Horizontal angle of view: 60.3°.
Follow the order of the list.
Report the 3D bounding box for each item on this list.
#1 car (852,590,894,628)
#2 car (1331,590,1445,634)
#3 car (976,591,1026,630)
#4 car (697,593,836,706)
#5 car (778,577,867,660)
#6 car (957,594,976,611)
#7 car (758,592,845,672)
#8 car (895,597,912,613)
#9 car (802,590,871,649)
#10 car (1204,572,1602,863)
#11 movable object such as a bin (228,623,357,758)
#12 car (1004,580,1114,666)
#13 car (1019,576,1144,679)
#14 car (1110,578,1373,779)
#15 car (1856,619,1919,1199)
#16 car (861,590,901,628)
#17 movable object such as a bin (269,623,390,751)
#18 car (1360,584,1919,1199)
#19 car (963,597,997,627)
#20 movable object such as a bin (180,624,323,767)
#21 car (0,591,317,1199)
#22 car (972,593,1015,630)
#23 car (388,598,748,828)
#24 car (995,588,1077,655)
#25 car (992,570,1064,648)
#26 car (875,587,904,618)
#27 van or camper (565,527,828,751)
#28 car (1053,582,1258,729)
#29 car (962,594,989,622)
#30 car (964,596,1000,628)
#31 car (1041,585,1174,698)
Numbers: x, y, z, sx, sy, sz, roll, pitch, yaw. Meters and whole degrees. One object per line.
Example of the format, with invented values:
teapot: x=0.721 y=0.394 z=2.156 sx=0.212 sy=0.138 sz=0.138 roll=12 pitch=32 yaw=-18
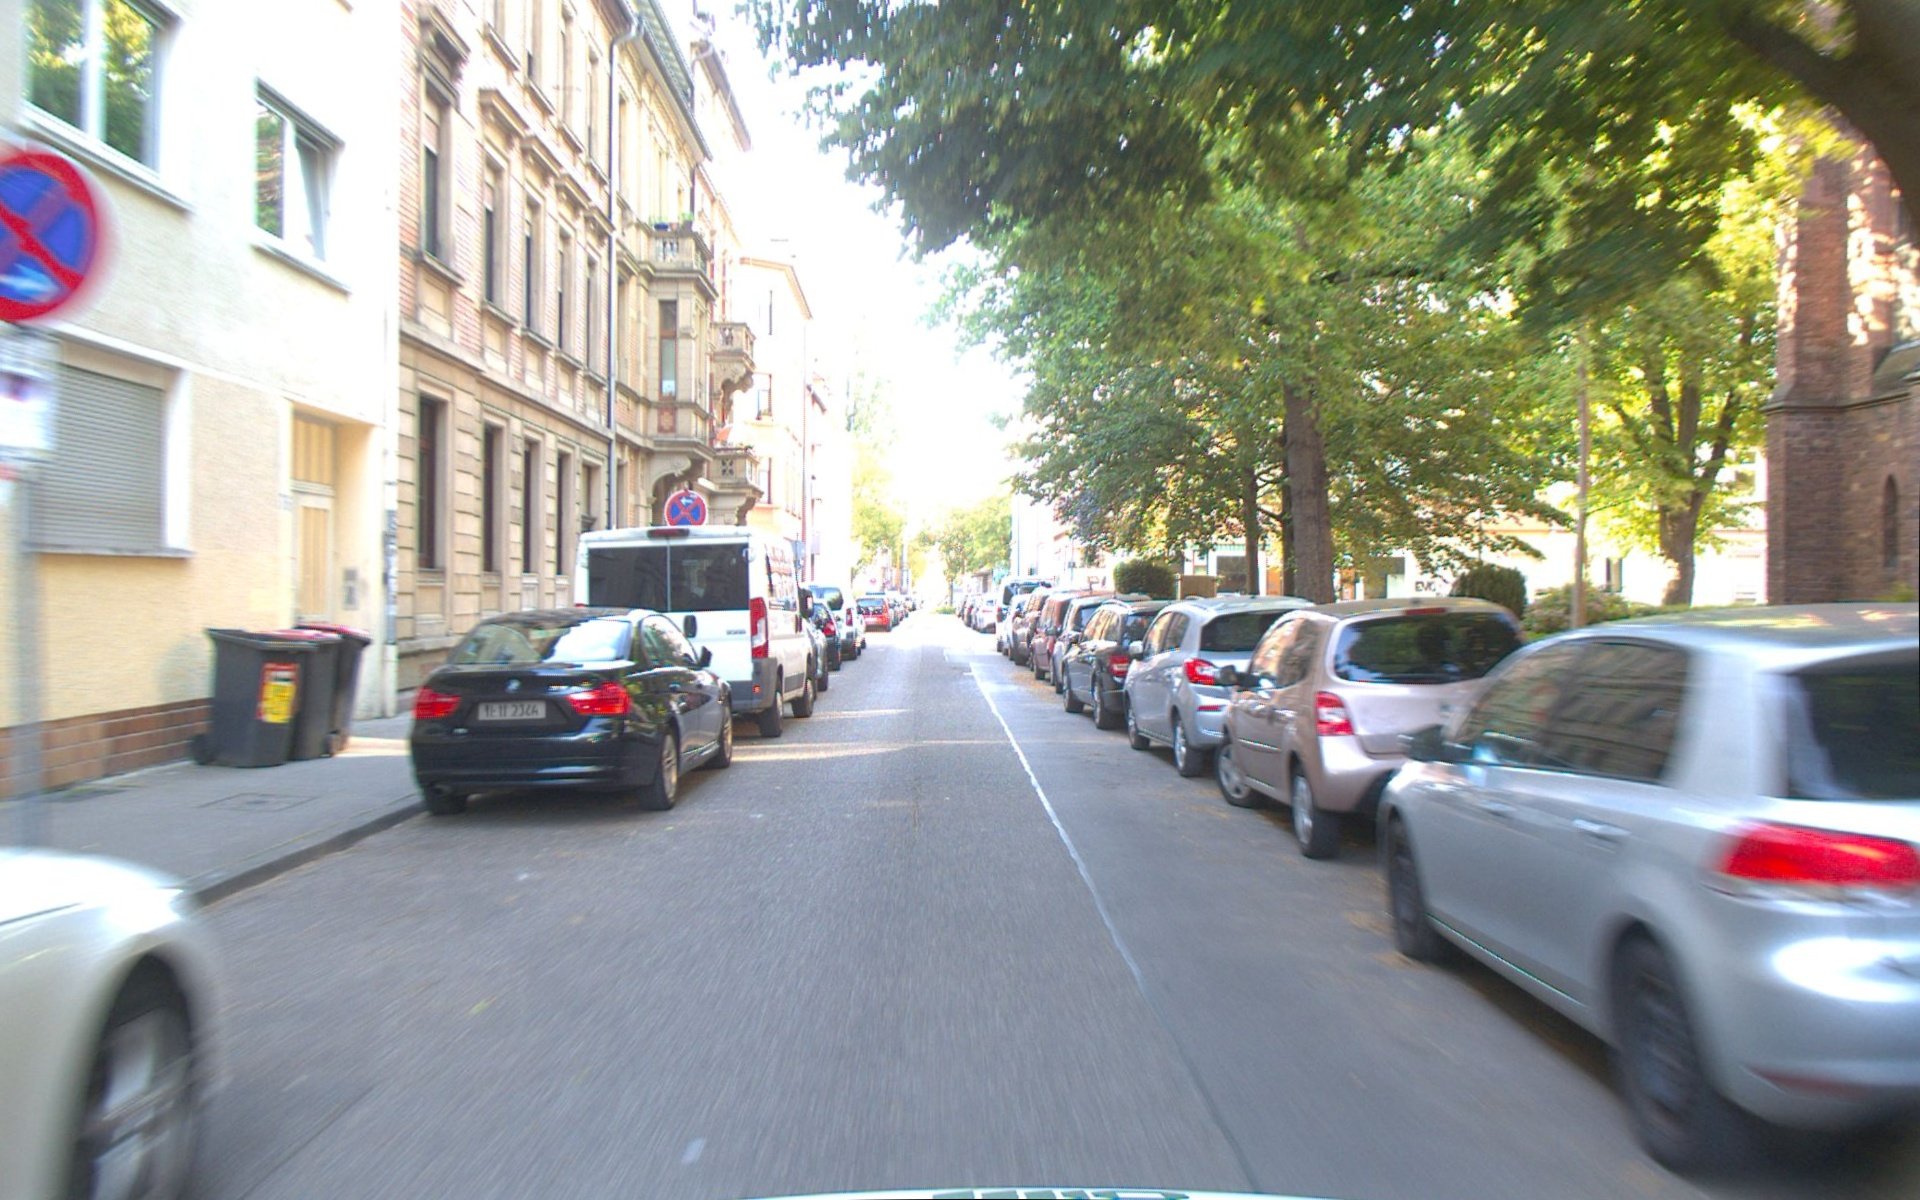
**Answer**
car: x=-3.623 y=0.365 z=69.295 sx=1.595 sy=1.507 sz=3.600 roll=-2 pitch=0 yaw=-2
car: x=15.482 y=0.435 z=59.948 sx=3.773 sy=1.499 sz=1.634 roll=1 pitch=-2 yaw=6
car: x=1.673 y=0.420 z=68.968 sx=1.709 sy=1.533 sz=4.354 roll=-2 pitch=0 yaw=-4
car: x=-2.896 y=0.693 z=25.523 sx=1.731 sy=1.540 sz=4.192 roll=-2 pitch=0 yaw=-2
car: x=-3.273 y=0.420 z=40.116 sx=1.794 sy=1.843 sz=4.571 roll=-2 pitch=0 yaw=-1
car: x=0.619 y=0.239 z=159.488 sx=1.642 sy=1.513 sz=3.637 roll=-2 pitch=0 yaw=-2
car: x=-3.315 y=0.637 z=35.177 sx=1.659 sy=1.540 sz=3.970 roll=-2 pitch=0 yaw=-4
car: x=-5.373 y=0.458 z=157.609 sx=1.642 sy=1.513 sz=4.093 roll=-2 pitch=0 yaw=-2
car: x=-3.369 y=0.494 z=45.516 sx=1.658 sy=1.507 sz=3.972 roll=-2 pitch=0 yaw=-2
car: x=2.730 y=0.665 z=10.996 sx=1.567 sy=1.493 sz=3.563 roll=-4 pitch=0 yaw=0
movable object such as a bin: x=-5.636 y=0.748 z=13.994 sx=0.783 sy=1.107 sz=0.666 roll=0 pitch=-1 yaw=3
car: x=2.105 y=0.503 z=36.315 sx=1.706 sy=1.631 sz=4.259 roll=-4 pitch=0 yaw=-5
car: x=2.157 y=0.496 z=30.360 sx=1.587 sy=1.653 sz=3.859 roll=-4 pitch=0 yaw=-5
car: x=2.485 y=0.664 z=15.432 sx=1.568 sy=1.531 sz=3.625 roll=-4 pitch=0 yaw=-3
car: x=2.751 y=0.739 z=1.656 sx=1.567 sy=1.531 sz=3.720 roll=-4 pitch=0 yaw=0
car: x=-4.000 y=0.439 z=84.388 sx=1.707 sy=1.842 sz=4.672 roll=-2 pitch=0 yaw=1
movable object such as a bin: x=-5.594 y=0.761 z=14.701 sx=0.783 sy=1.107 sz=0.666 roll=0 pitch=-1 yaw=3
car: x=2.679 y=0.717 z=5.766 sx=1.566 sy=1.496 sz=3.869 roll=-2 pitch=0 yaw=0
car: x=1.056 y=0.626 z=88.464 sx=1.642 sy=1.533 sz=3.936 roll=-2 pitch=0 yaw=-2
movable object such as a bin: x=-5.650 y=0.747 z=13.218 sx=0.819 sy=1.107 sz=0.675 roll=0 pitch=-1 yaw=2
car: x=-2.565 y=0.752 z=2.182 sx=1.695 sy=1.481 sz=4.520 roll=-2 pitch=0 yaw=-1
car: x=1.470 y=0.498 z=74.394 sx=1.709 sy=1.533 sz=4.020 roll=-2 pitch=0 yaw=-2
car: x=-2.812 y=0.728 z=12.851 sx=1.695 sy=1.426 sz=4.315 roll=-2 pitch=0 yaw=0
car: x=1.848 y=0.509 z=41.201 sx=1.684 sy=1.598 sz=3.826 roll=0 pitch=0 yaw=-3
car: x=1.858 y=0.216 z=46.654 sx=1.875 sy=2.033 sz=4.792 roll=-2 pitch=0 yaw=1
car: x=-4.409 y=0.152 z=103.544 sx=1.729 sy=1.816 sz=4.038 roll=-2 pitch=0 yaw=-2
van or camper: x=-2.854 y=0.379 z=19.220 sx=2.132 sy=2.185 sz=5.154 roll=-2 pitch=0 yaw=0
car: x=2.250 y=0.623 z=20.265 sx=1.642 sy=1.466 sz=4.692 roll=-4 pitch=0 yaw=-3
car: x=0.989 y=0.534 z=105.977 sx=1.641 sy=1.711 sz=4.094 roll=-2 pitch=-1 yaw=0
car: x=1.107 y=0.574 z=84.049 sx=1.642 sy=1.533 sz=3.936 roll=-2 pitch=0 yaw=-2
car: x=2.227 y=0.614 z=25.808 sx=1.586 sy=1.512 sz=3.775 roll=-4 pitch=0 yaw=-1
